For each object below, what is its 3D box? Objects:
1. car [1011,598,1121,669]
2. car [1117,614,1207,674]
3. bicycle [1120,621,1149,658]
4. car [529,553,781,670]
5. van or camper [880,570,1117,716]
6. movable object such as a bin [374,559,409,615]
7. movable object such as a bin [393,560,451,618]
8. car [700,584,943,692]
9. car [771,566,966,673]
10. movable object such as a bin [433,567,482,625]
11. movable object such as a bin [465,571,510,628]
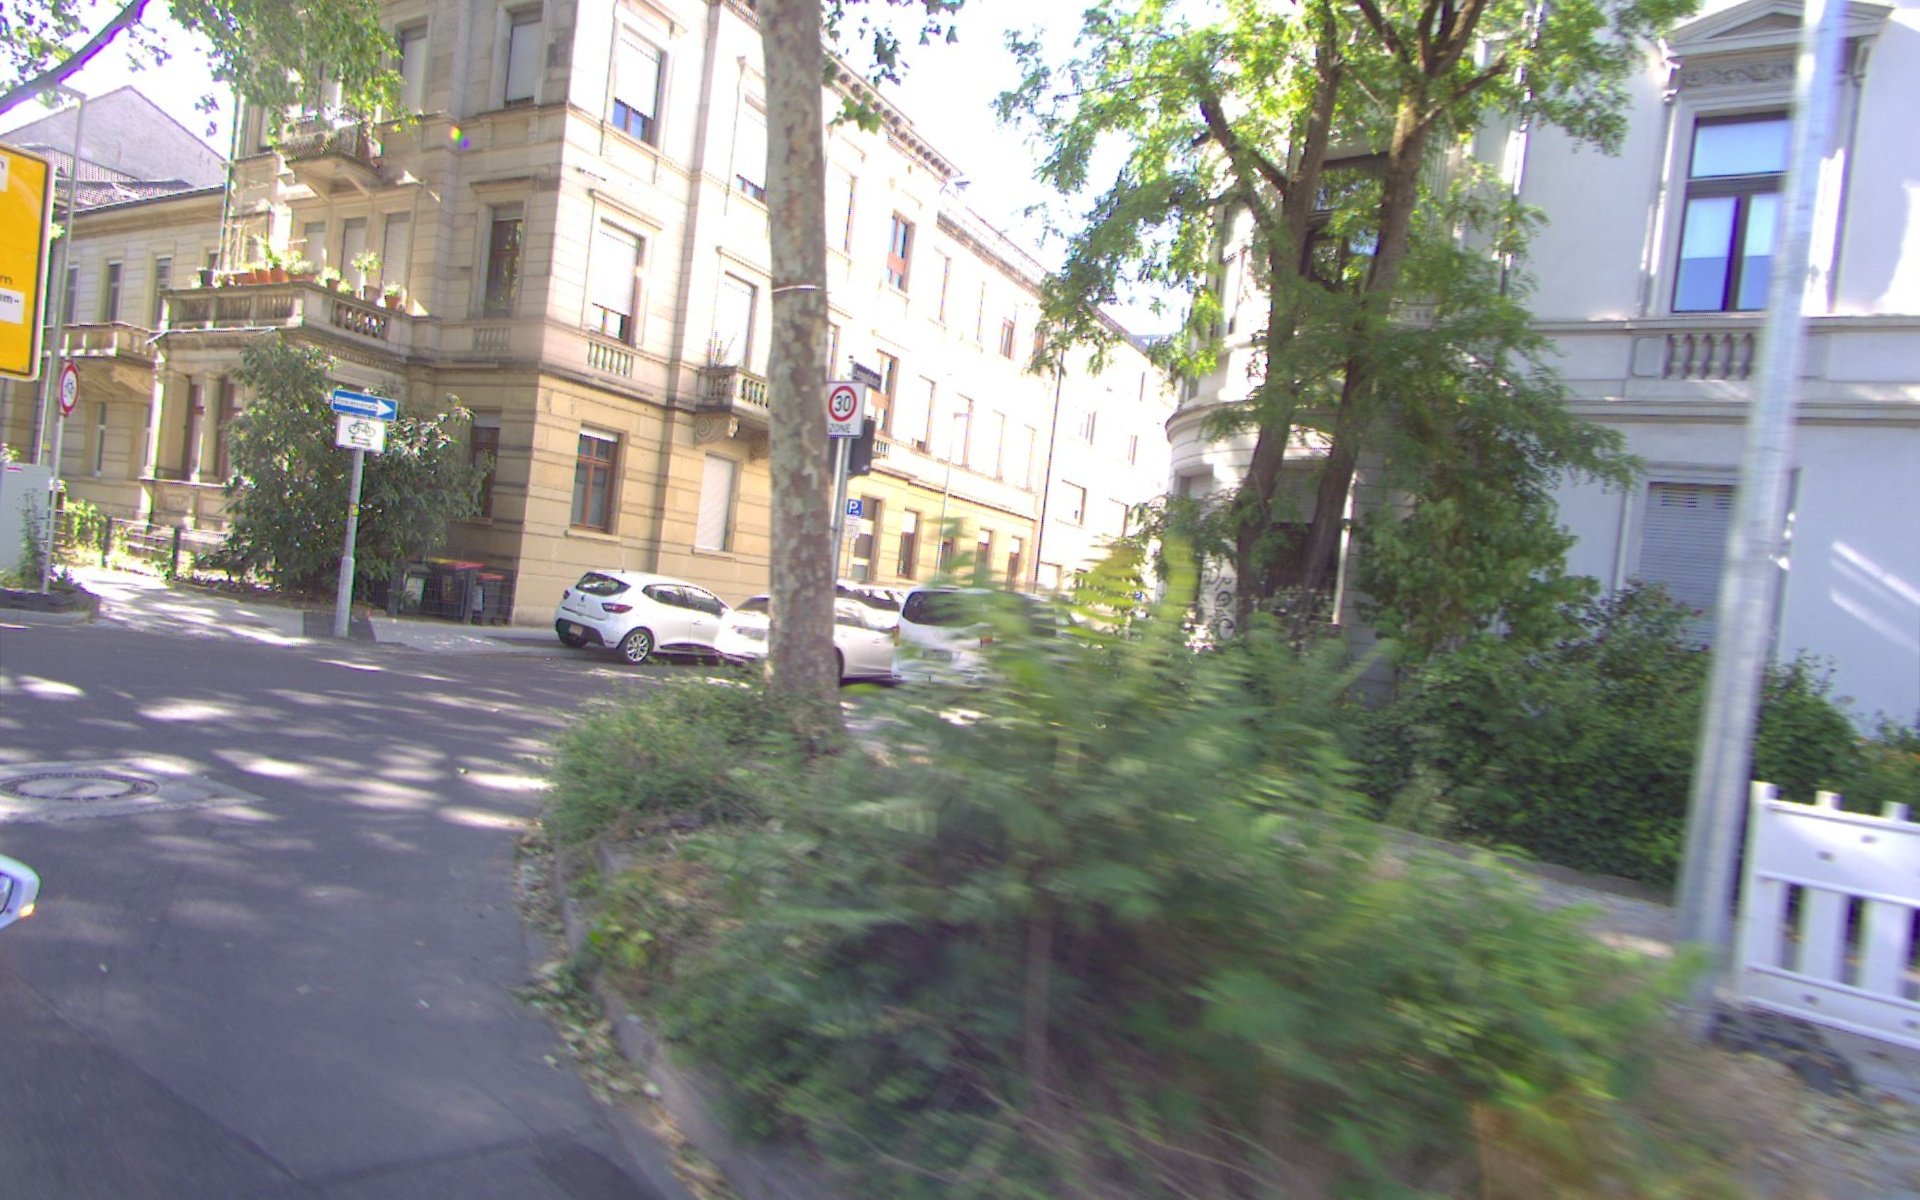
[{"bbox_3d":[3.532,1.152,32.804,1.721,1.900,4.080,11,3,31],"label":"car"},{"bbox_3d":[8.109,1.782,40.108,1.868,1.983,4.772,9,2,30],"label":"car"},{"bbox_3d":[7.762,1.784,44.661,0.549,1.528,1.798,9,1,28],"label":"bicycle"},{"bbox_3d":[-5.263,0.281,17.877,1.841,1.580,3.936,9,0,30],"label":"car"},{"bbox_3d":[0.880,0.779,17.749,1.868,2.039,5.021,7,0,30],"label":"van or camper"},{"bbox_3d":[-10.480,-0.243,18.556,0.376,0.983,0.344,7,1,31],"label":"movable object such as a bin"},{"bbox_3d":[-9.838,-0.197,18.407,0.539,0.983,0.688,7,1,31],"label":"movable object such as a bin"},{"bbox_3d":[-2.216,0.681,17.114,1.810,1.504,4.046,5,-1,33],"label":"car"},{"bbox_3d":[-1.982,0.531,23.283,1.995,2.038,4.533,7,0,32],"label":"car"},{"bbox_3d":[-9.192,-0.074,18.416,0.539,0.983,0.519,7,1,31],"label":"movable object such as a bin"},{"bbox_3d":[-8.577,-0.006,18.260,0.391,0.983,0.519,7,1,31],"label":"movable object such as a bin"}]
